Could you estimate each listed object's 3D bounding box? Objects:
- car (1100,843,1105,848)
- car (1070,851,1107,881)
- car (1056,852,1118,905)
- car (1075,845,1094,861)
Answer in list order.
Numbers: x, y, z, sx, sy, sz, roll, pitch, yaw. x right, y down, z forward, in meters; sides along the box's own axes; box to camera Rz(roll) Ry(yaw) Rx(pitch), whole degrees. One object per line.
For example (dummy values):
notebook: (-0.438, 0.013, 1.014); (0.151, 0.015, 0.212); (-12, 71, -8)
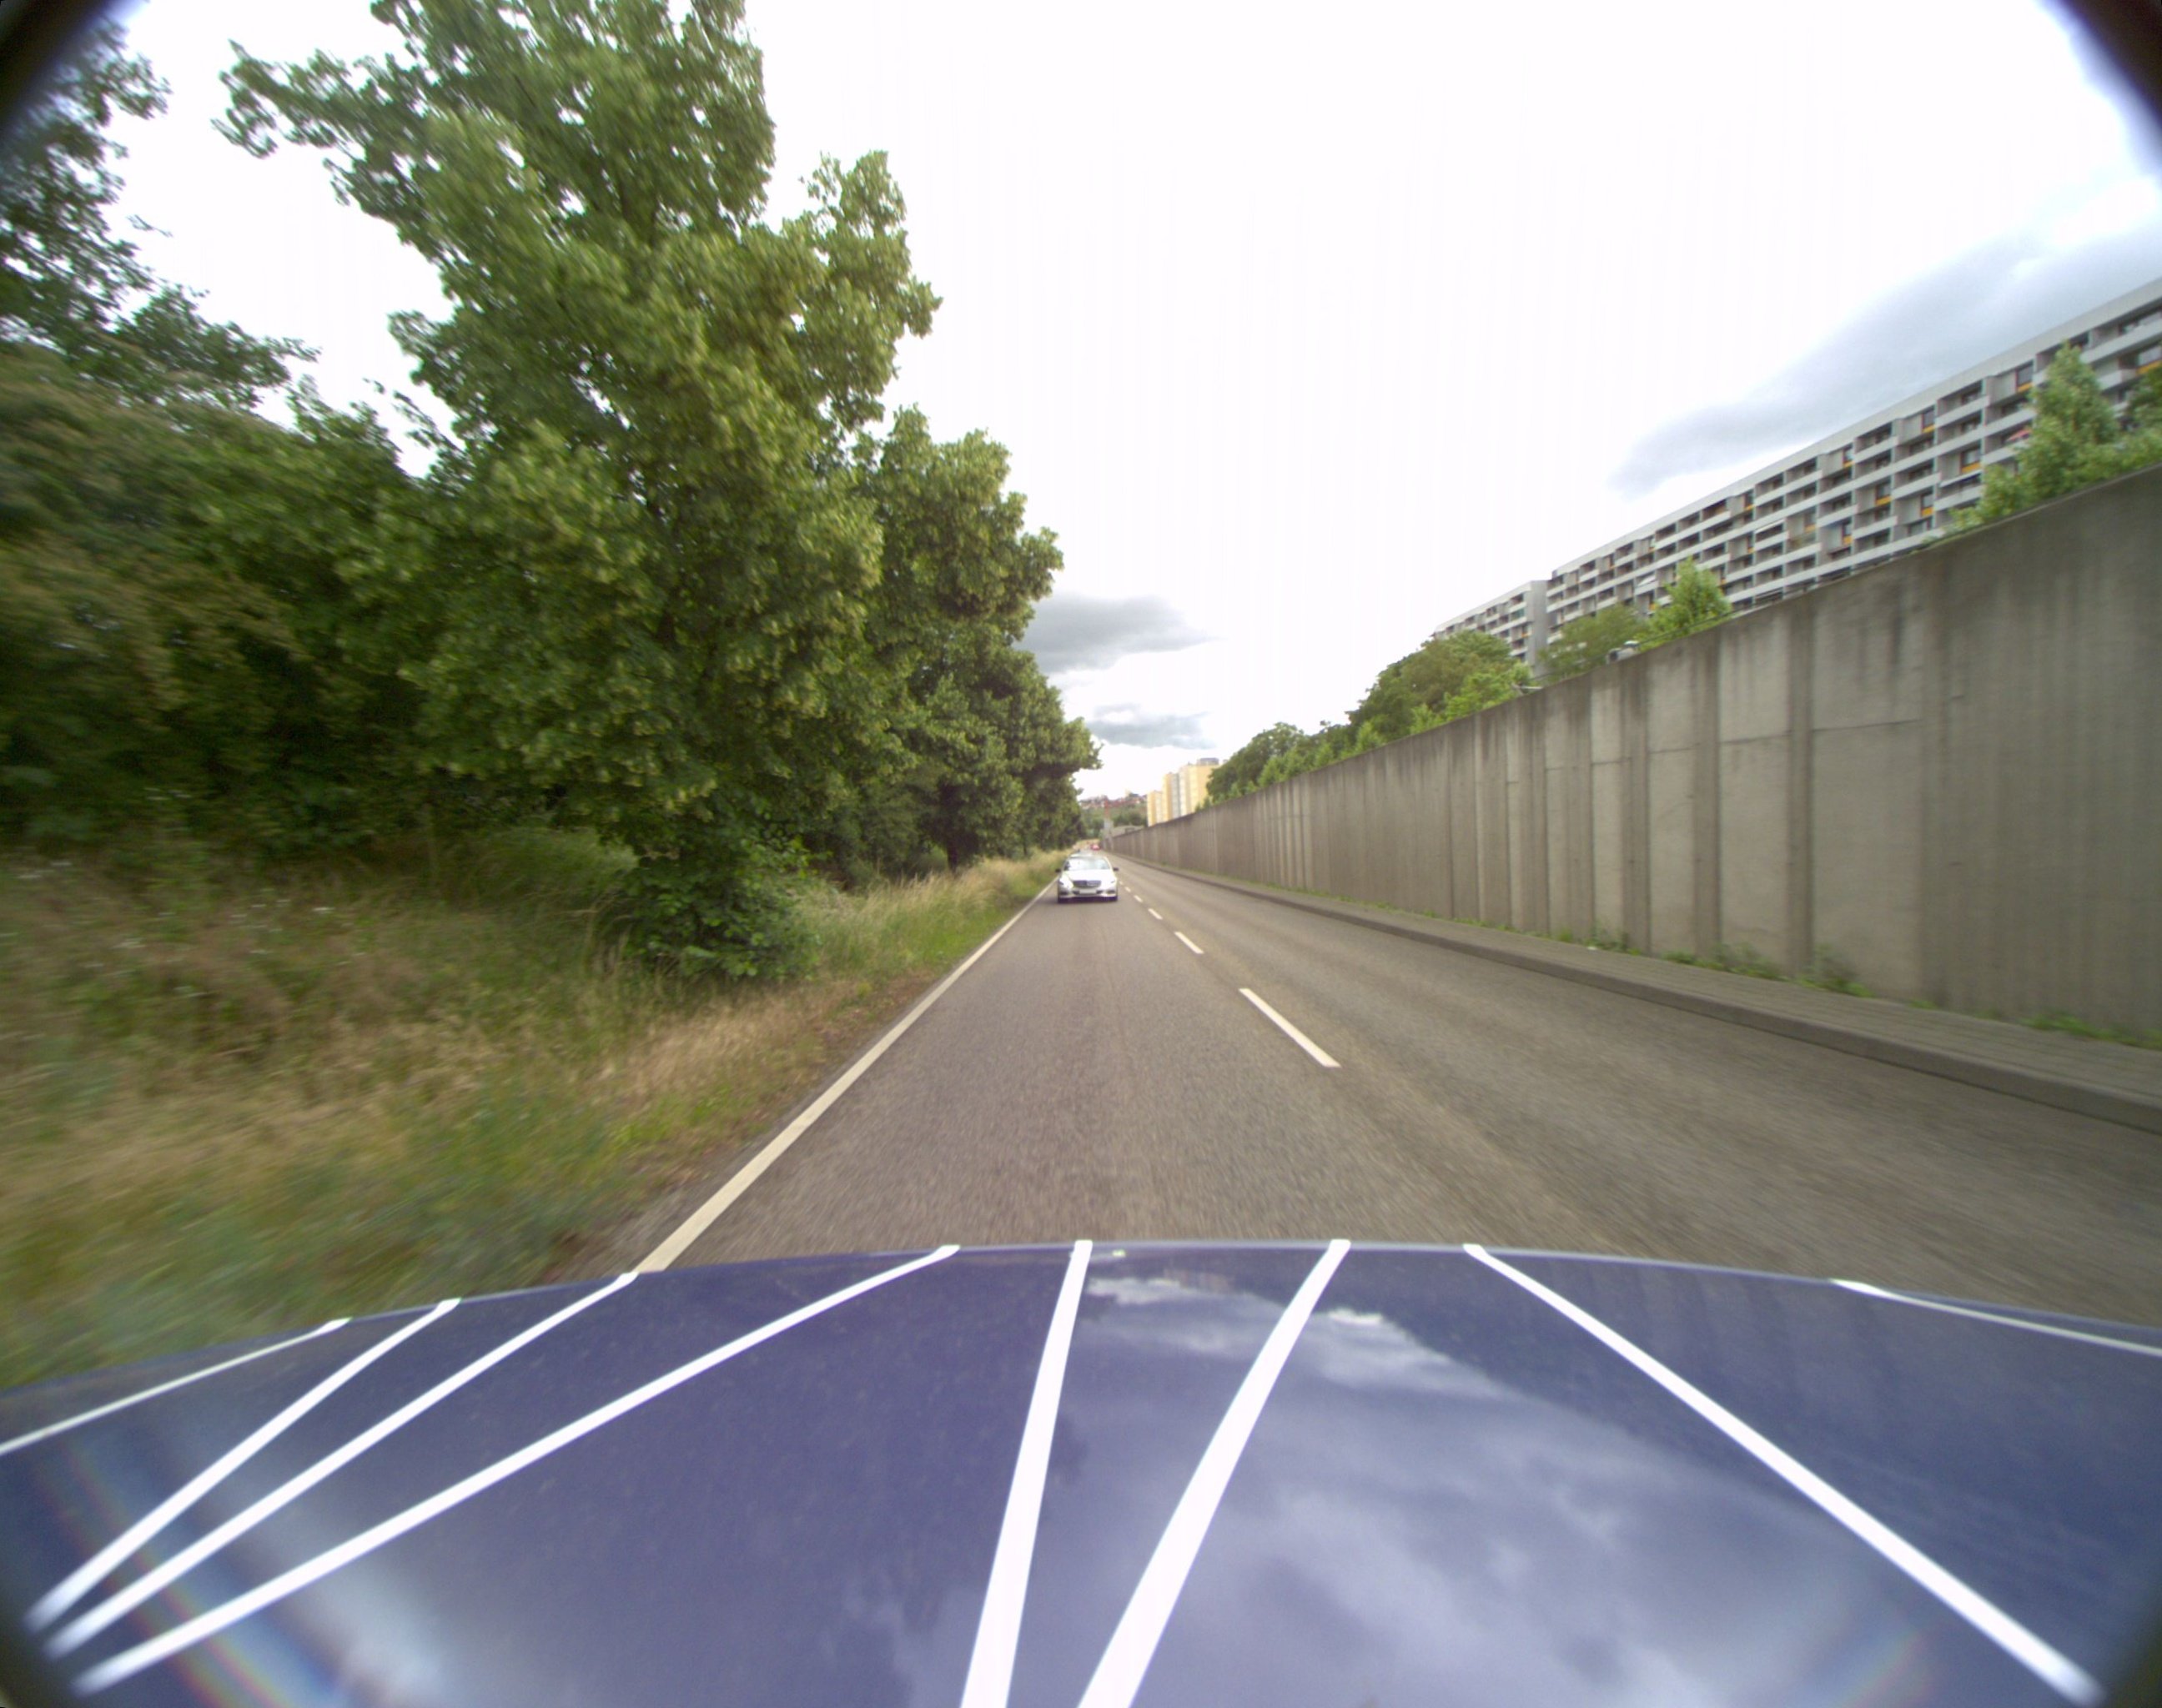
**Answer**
car: (6.895, -2.806, 242.907); (1.639, 1.477, 3.494); (-6, -1, 1)
car: (0.420, 0.612, 41.625); (1.878, 1.459, 3.999); (-2, 1, 1)
car: (0.198, 0.736, 25.038); (1.842, 1.499, 4.160); (-2, 1, 1)
car: (0.403, -0.117, 86.595); (1.998, 1.746, 4.000); (-2, 1, 1)
